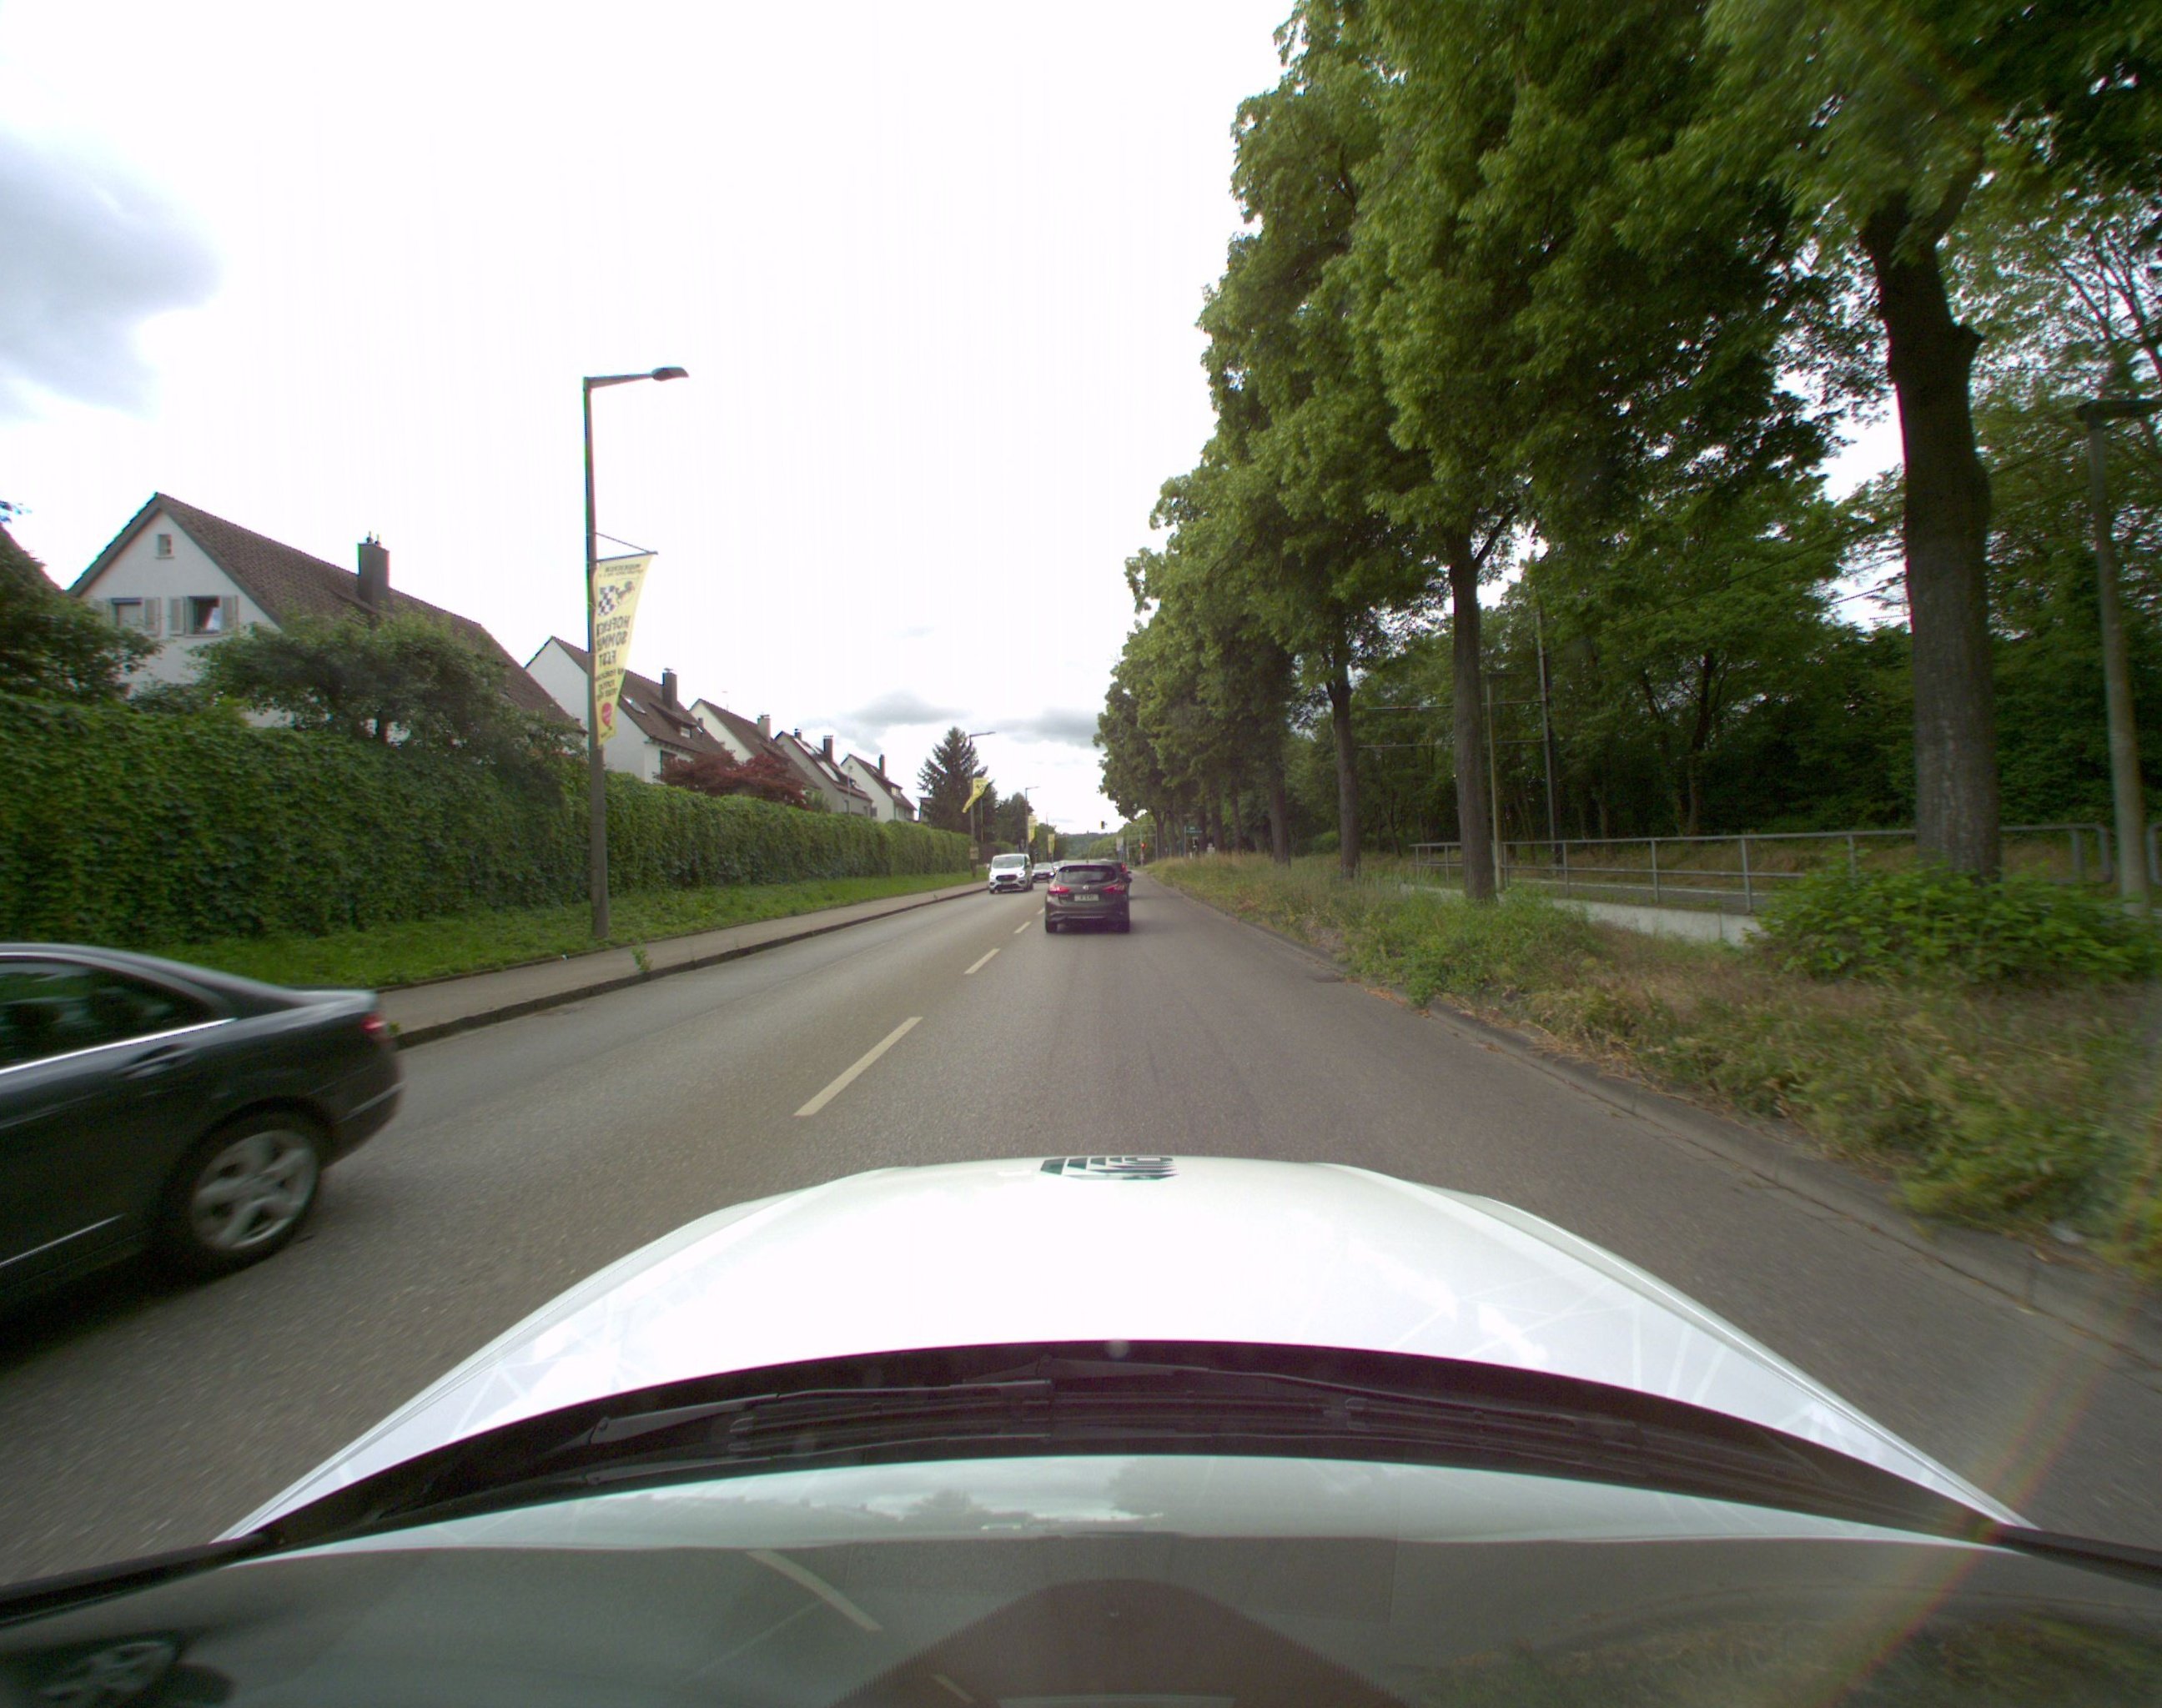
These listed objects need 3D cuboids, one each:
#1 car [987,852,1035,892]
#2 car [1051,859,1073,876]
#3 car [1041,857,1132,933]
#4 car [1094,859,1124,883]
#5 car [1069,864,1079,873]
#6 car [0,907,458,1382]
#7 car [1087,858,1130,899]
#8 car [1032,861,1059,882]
[{"bbox_3d":[-3.609,0.938,42.953,1.900,1.932,4.911,-3,-1,1],"label":"car"},{"bbox_3d":[-1.703,1.231,74.824,1.880,1.383,4.490,-3,0,0],"label":"car"},{"bbox_3d":[0.184,0.837,18.546,1.828,1.519,4.484,0,0,2],"label":"car"},{"bbox_3d":[1.779,1.031,51.575,1.785,1.397,4.001,-2,0,2],"label":"car"},{"bbox_3d":[-1.319,2.707,153.938,1.807,1.524,4.176,-4,-1,0],"label":"car"},{"bbox_3d":[-4.283,1.010,2.259,1.727,1.375,4.240,-3,0,1],"label":"car"},{"bbox_3d":[1.081,0.897,31.650,1.533,1.478,3.765,-1,0,2],"label":"car"},{"bbox_3d":[-2.582,1.268,59.803,1.645,1.348,4.479,-3,0,1],"label":"car"}]
